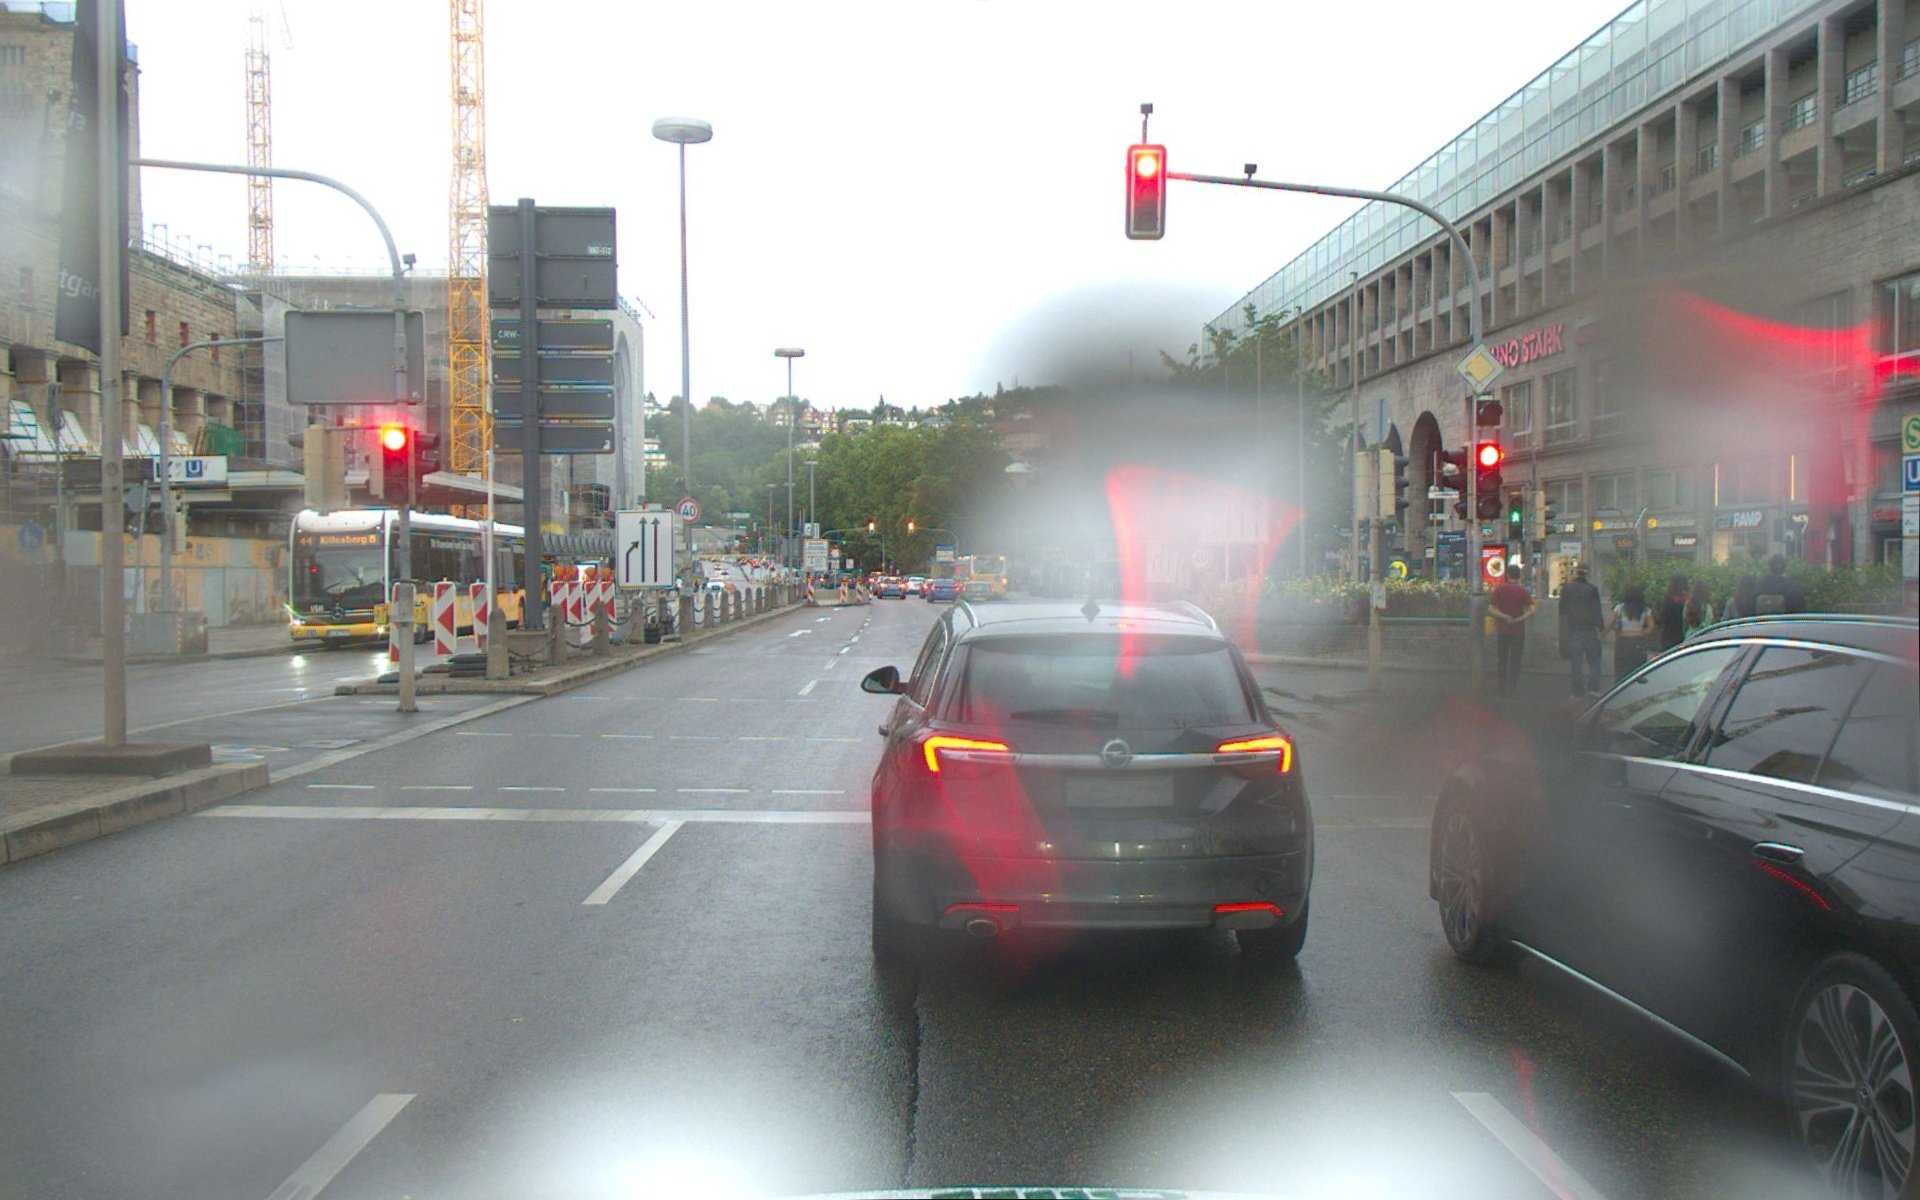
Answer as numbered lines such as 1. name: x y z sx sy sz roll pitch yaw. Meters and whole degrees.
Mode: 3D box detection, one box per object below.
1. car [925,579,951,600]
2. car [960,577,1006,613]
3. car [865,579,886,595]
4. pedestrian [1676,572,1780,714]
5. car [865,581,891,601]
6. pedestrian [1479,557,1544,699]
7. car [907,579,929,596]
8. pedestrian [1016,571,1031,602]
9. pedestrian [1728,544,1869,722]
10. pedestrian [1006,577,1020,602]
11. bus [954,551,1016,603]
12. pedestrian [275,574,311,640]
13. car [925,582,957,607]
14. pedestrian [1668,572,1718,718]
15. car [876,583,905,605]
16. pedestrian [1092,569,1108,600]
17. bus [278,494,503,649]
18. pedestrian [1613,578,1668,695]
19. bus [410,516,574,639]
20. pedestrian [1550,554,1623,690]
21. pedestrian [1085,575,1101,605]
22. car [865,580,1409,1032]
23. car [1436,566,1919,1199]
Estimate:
1. car: -1.593 -0.708 117.711 1.718 1.422 4.399 1 0 -3
2. car: 0.954 -0.195 69.218 1.808 1.422 3.666 1 0 -1
3. car: -7.671 -1.143 149.854 1.723 1.422 3.563 1 0 -1
4. pedestrian: 9.197 0.506 19.844 0.778 1.654 0.899 1 0 -4
5. car: -6.297 -0.677 127.070 1.808 1.422 3.563 1 0 -1
6. pedestrian: 7.102 0.352 21.284 0.560 1.783 0.676 1 0 42
7. car: -3.540 -1.041 141.252 1.808 1.422 3.563 1 0 -1
8. pedestrian: 5.169 -1.066 134.390 1.174 2.478 1.228 1 0 0
9. pedestrian: 8.720 0.337 17.219 1.074 1.782 0.653 -2 0 -4
10. pedestrian: 4.726 -0.915 147.814 1.174 2.186 1.228 1 0 0
11. bus: 1.695 -1.583 120.918 4.089 3.529 14.651 1 0 -1
12. pedestrian: -17.589 0.183 43.619 0.646 1.710 0.644 1 0 -1
13. car: -1.154 -0.326 100.269 1.718 1.422 4.645 1 0 -3
14. pedestrian: 9.157 0.551 20.676 0.471 1.782 0.666 -2 0 19
15. car: -4.701 -0.426 111.944 1.808 1.422 3.563 1 0 -1
16. pedestrian: 8.002 -0.886 94.370 0.748 1.720 0.824 1 0 -5
17. bus: -15.064 -0.688 44.746 2.614 3.665 10.237 1 0 -1
18. pedestrian: 8.610 0.452 20.946 0.617 1.452 0.490 1 0 21
19. bus: -15.319 -0.682 55.059 2.614 3.665 10.209 1 0 -1
20. pedestrian: 8.154 0.286 21.548 0.740 1.747 0.466 1 0 -5
21. pedestrian: 7.687 -0.584 95.559 0.748 1.720 0.824 1 0 -5
22. car: 0.563 0.707 7.636 1.837 1.512 3.999 1 0 -1
23. car: 3.014 0.705 5.056 1.757 1.528 4.628 1 0 0
